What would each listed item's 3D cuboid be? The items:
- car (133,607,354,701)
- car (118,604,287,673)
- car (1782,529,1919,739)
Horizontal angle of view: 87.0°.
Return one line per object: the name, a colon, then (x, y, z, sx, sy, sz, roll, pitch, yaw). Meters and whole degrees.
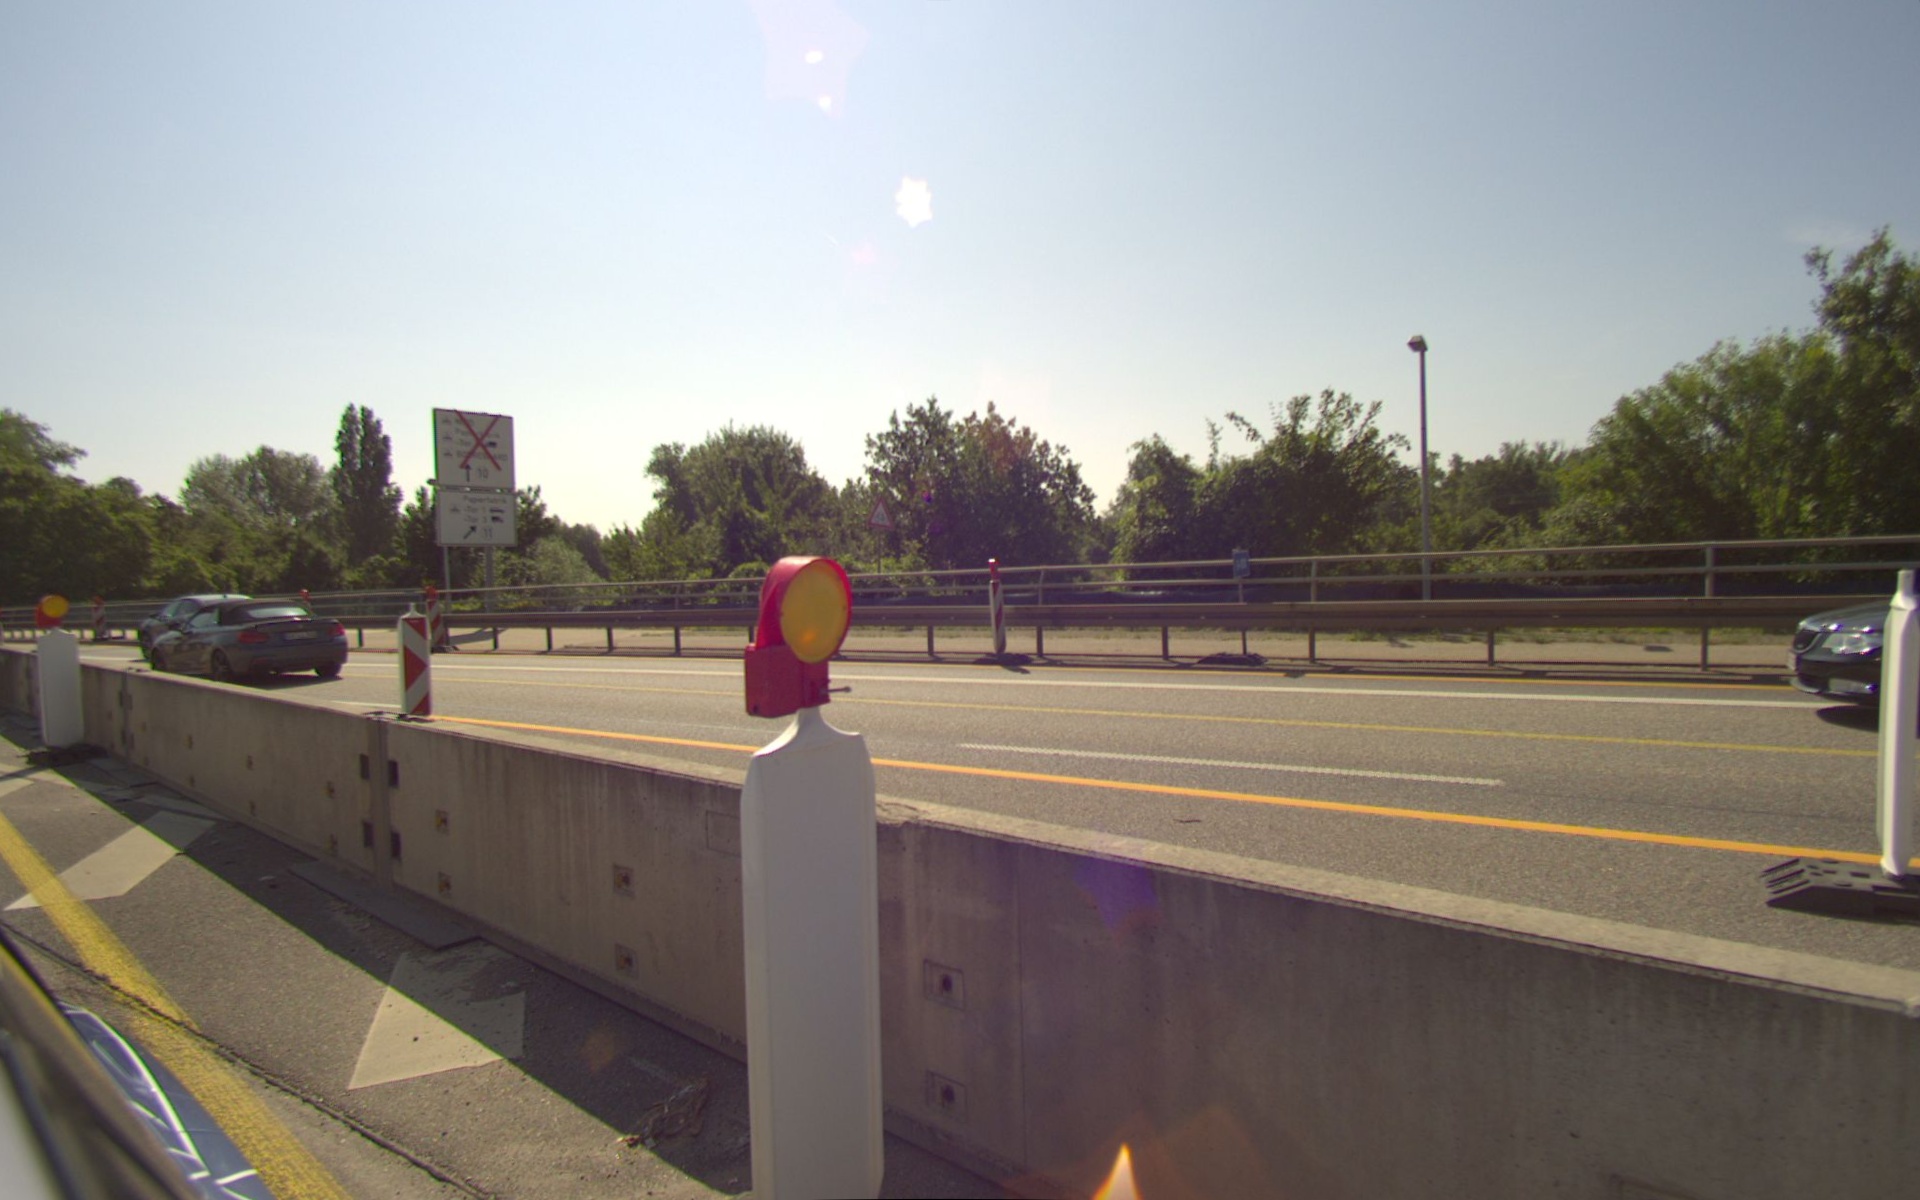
car: (-12.466, 0.884, 17.542, 4.261, 1.386, 1.676, -1, 1, 34)
car: (-18.893, 0.939, 25.203, 4.455, 1.519, 1.918, -2, 1, 33)
car: (8.608, 0.165, 6.538, 4.986, 1.453, 1.653, -1, 2, 36)
